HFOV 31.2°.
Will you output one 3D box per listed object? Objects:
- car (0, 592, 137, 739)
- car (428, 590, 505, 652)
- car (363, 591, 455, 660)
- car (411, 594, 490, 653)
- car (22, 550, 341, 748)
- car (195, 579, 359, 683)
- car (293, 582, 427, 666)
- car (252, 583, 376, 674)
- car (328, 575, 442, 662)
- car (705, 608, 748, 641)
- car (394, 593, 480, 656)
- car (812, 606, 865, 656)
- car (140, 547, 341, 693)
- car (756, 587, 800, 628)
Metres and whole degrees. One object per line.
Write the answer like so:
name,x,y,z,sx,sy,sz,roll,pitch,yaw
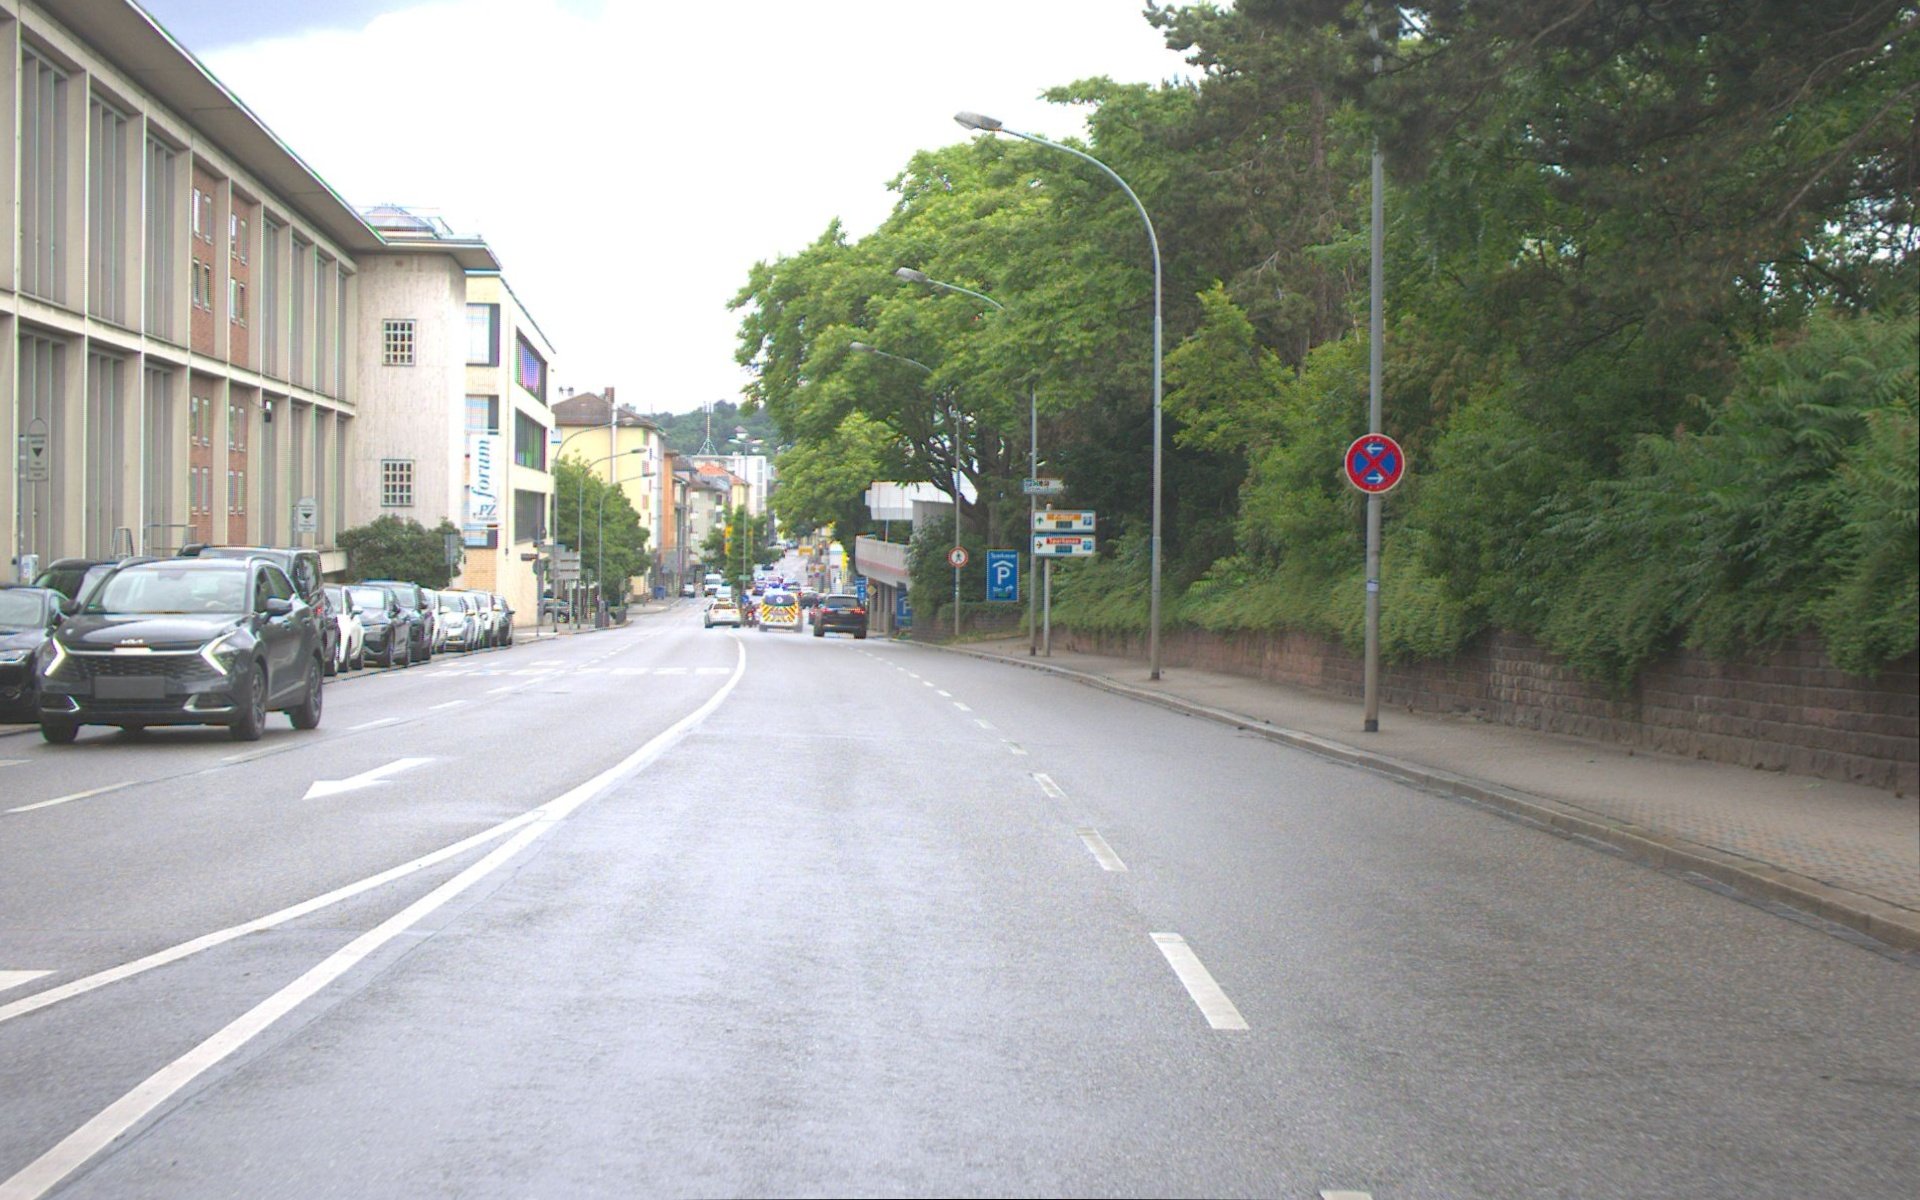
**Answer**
car,-9.540,0.610,34.556,1.542,1.349,4.110,1,0,0
car,-13.676,0.567,95.385,1.748,1.592,4.182,3,0,-4
car,-12.696,0.587,79.409,1.679,1.517,3.921,1,0,-3
car,-13.328,0.607,90.080,1.747,1.449,4.182,3,0,-5
car,-6.943,0.385,31.108,1.821,1.655,4.337,0,1,1
car,-10.718,0.458,54.213,1.860,1.546,4.313,1,0,-2
car,-11.199,0.424,64.419,1.815,1.479,4.910,1,0,-2
car,-11.039,0.463,58.926,1.566,1.479,3.553,1,0,-2
car,-11.706,0.384,70.166,1.841,1.648,4.516,2,-1,-5
car,-13.056,1.358,192.057,1.993,1.674,4.001,-2,1,-9
car,-12.854,0.608,84.633,1.747,1.430,4.487,3,-1,-5
car,-5.044,1.278,141.924,2.091,1.904,4.100,-1,1,-3
car,-10.073,0.253,48.499,1.948,1.937,4.996,1,0,-2
car,-8.629,0.331,162.694,1.993,1.831,4.001,-1,1,-4
